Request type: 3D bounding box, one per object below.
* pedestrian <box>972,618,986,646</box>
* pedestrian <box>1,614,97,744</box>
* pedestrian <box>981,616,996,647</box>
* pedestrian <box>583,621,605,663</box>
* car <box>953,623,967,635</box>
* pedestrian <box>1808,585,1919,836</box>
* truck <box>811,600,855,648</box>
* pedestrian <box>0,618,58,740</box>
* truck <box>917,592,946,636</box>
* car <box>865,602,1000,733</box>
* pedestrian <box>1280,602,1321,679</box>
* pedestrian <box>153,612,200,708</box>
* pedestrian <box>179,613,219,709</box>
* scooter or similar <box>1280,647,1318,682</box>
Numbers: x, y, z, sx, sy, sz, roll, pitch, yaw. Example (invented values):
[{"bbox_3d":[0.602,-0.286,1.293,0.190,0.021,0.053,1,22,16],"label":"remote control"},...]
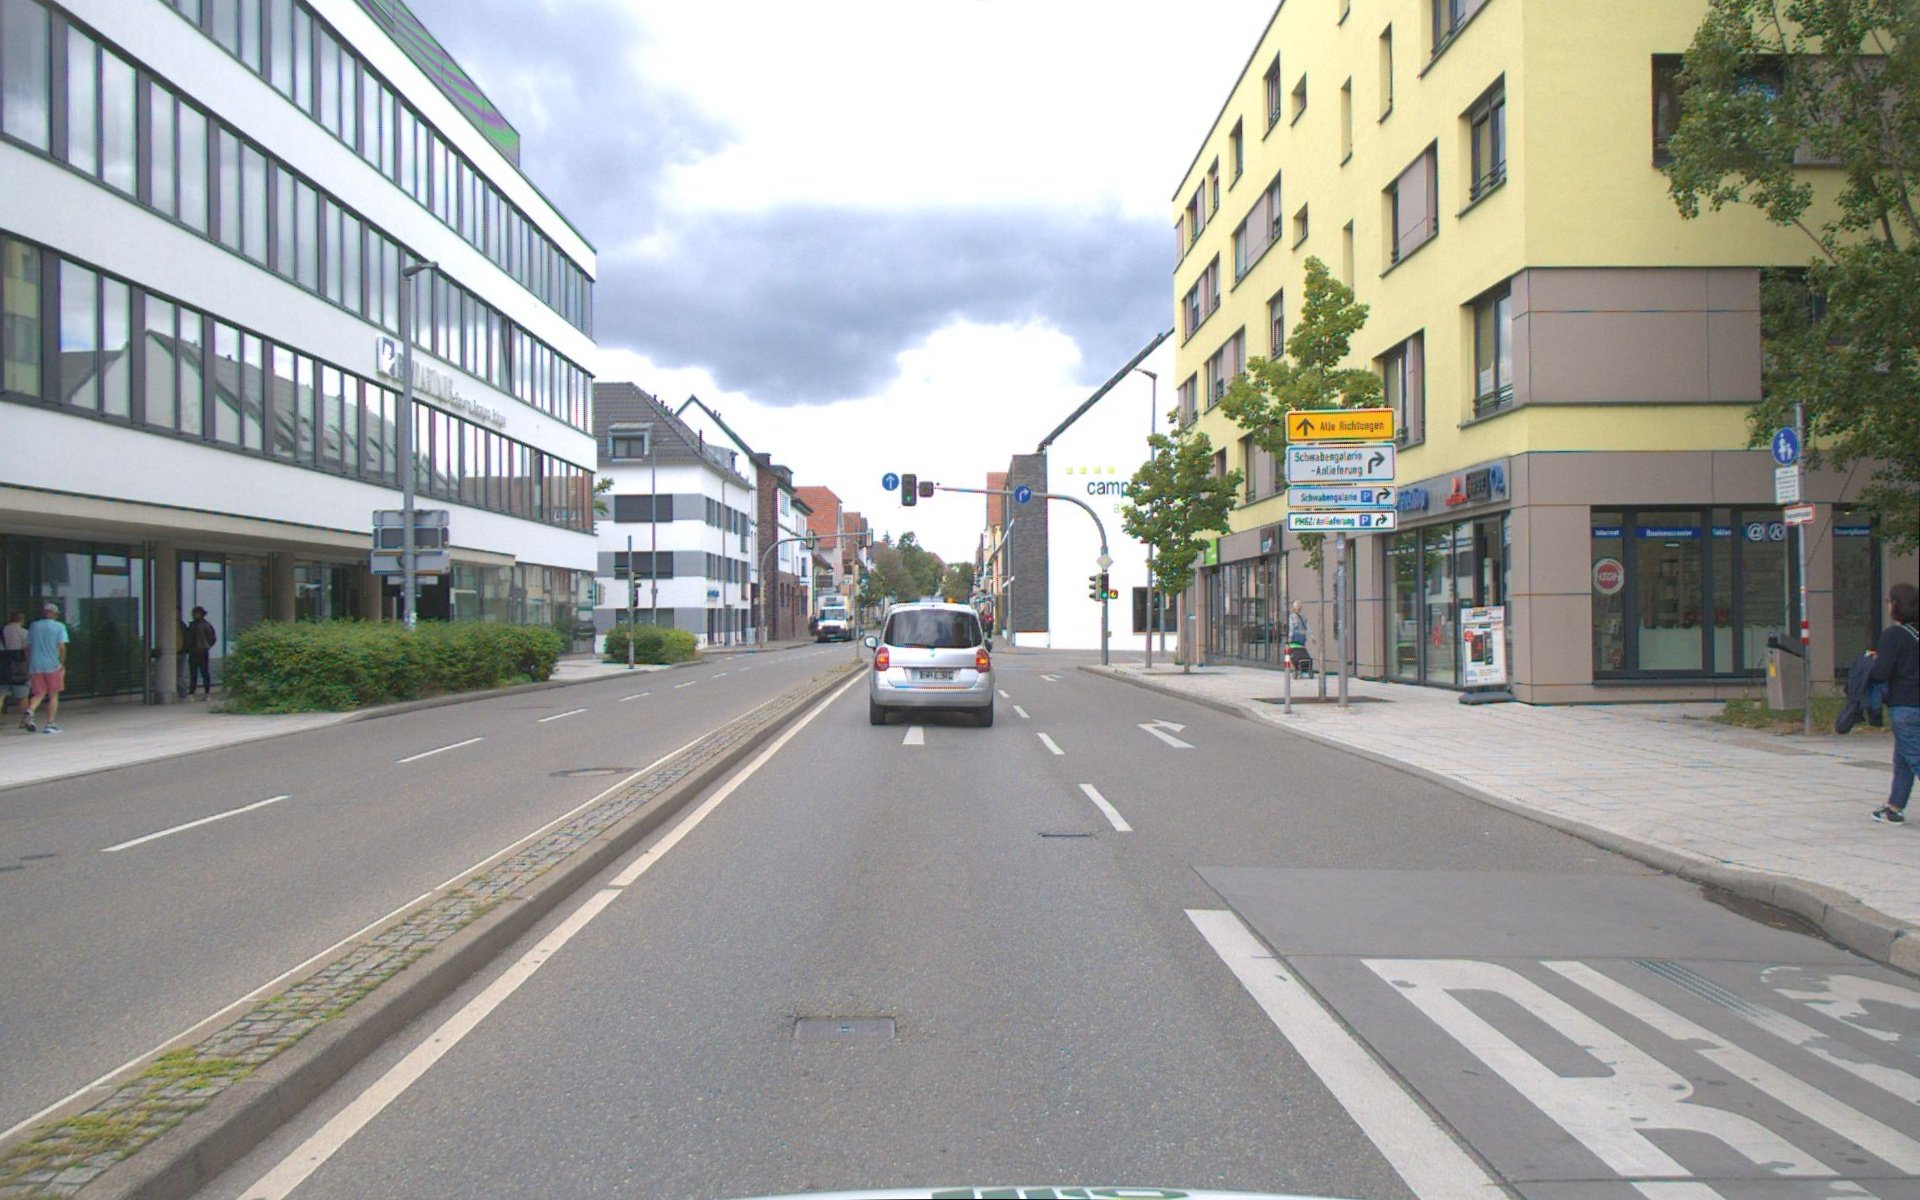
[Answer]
[{"bbox_3d":[1.255,2.112,108.953,0.871,1.818,0.785,-3,-1,0],"label":"pedestrian"},{"bbox_3d":[-12.239,1.045,22.253,0.715,1.703,0.931,1,-1,1],"label":"pedestrian"},{"bbox_3d":[1.748,1.932,101.962,0.791,1.818,0.861,-3,-1,0],"label":"pedestrian"},{"bbox_3d":[-15.240,1.740,68.901,0.865,1.699,0.812,0,2,-10],"label":"pedestrian"},{"bbox_3d":[-0.027,3.680,209.930,1.775,1.378,3.999,-1,-1,0],"label":"car"},{"bbox_3d":[6.476,0.716,11.188,0.928,1.611,1.015,0,-1,-2],"label":"pedestrian"},{"bbox_3d":[-8.368,1.576,109.874,2.385,3.005,8.362,1,-1,-1],"label":"truck"},{"bbox_3d":[-13.188,1.079,23.017,0.715,1.641,0.931,1,-1,1],"label":"pedestrian"},{"bbox_3d":[-2.523,1.252,150.696,2.542,3.925,6.847,0,-1,0],"label":"truck"},{"bbox_3d":[-0.376,0.880,22.914,1.672,1.606,3.999,2,-1,-1],"label":"car"},{"bbox_3d":[7.255,0.863,35.266,0.681,1.621,0.603,-1,-1,-2],"label":"pedestrian"},{"bbox_3d":[-14.600,1.109,30.823,0.495,1.760,0.614,-1,-1,30],"label":"pedestrian"},{"bbox_3d":[-13.962,1.114,30.347,0.607,1.740,0.501,0,-1,-31],"label":"pedestrian"},{"bbox_3d":[7.069,1.342,34.536,0.580,0.684,0.824,-1,-1,-2],"label":"scooter or similar"}]
